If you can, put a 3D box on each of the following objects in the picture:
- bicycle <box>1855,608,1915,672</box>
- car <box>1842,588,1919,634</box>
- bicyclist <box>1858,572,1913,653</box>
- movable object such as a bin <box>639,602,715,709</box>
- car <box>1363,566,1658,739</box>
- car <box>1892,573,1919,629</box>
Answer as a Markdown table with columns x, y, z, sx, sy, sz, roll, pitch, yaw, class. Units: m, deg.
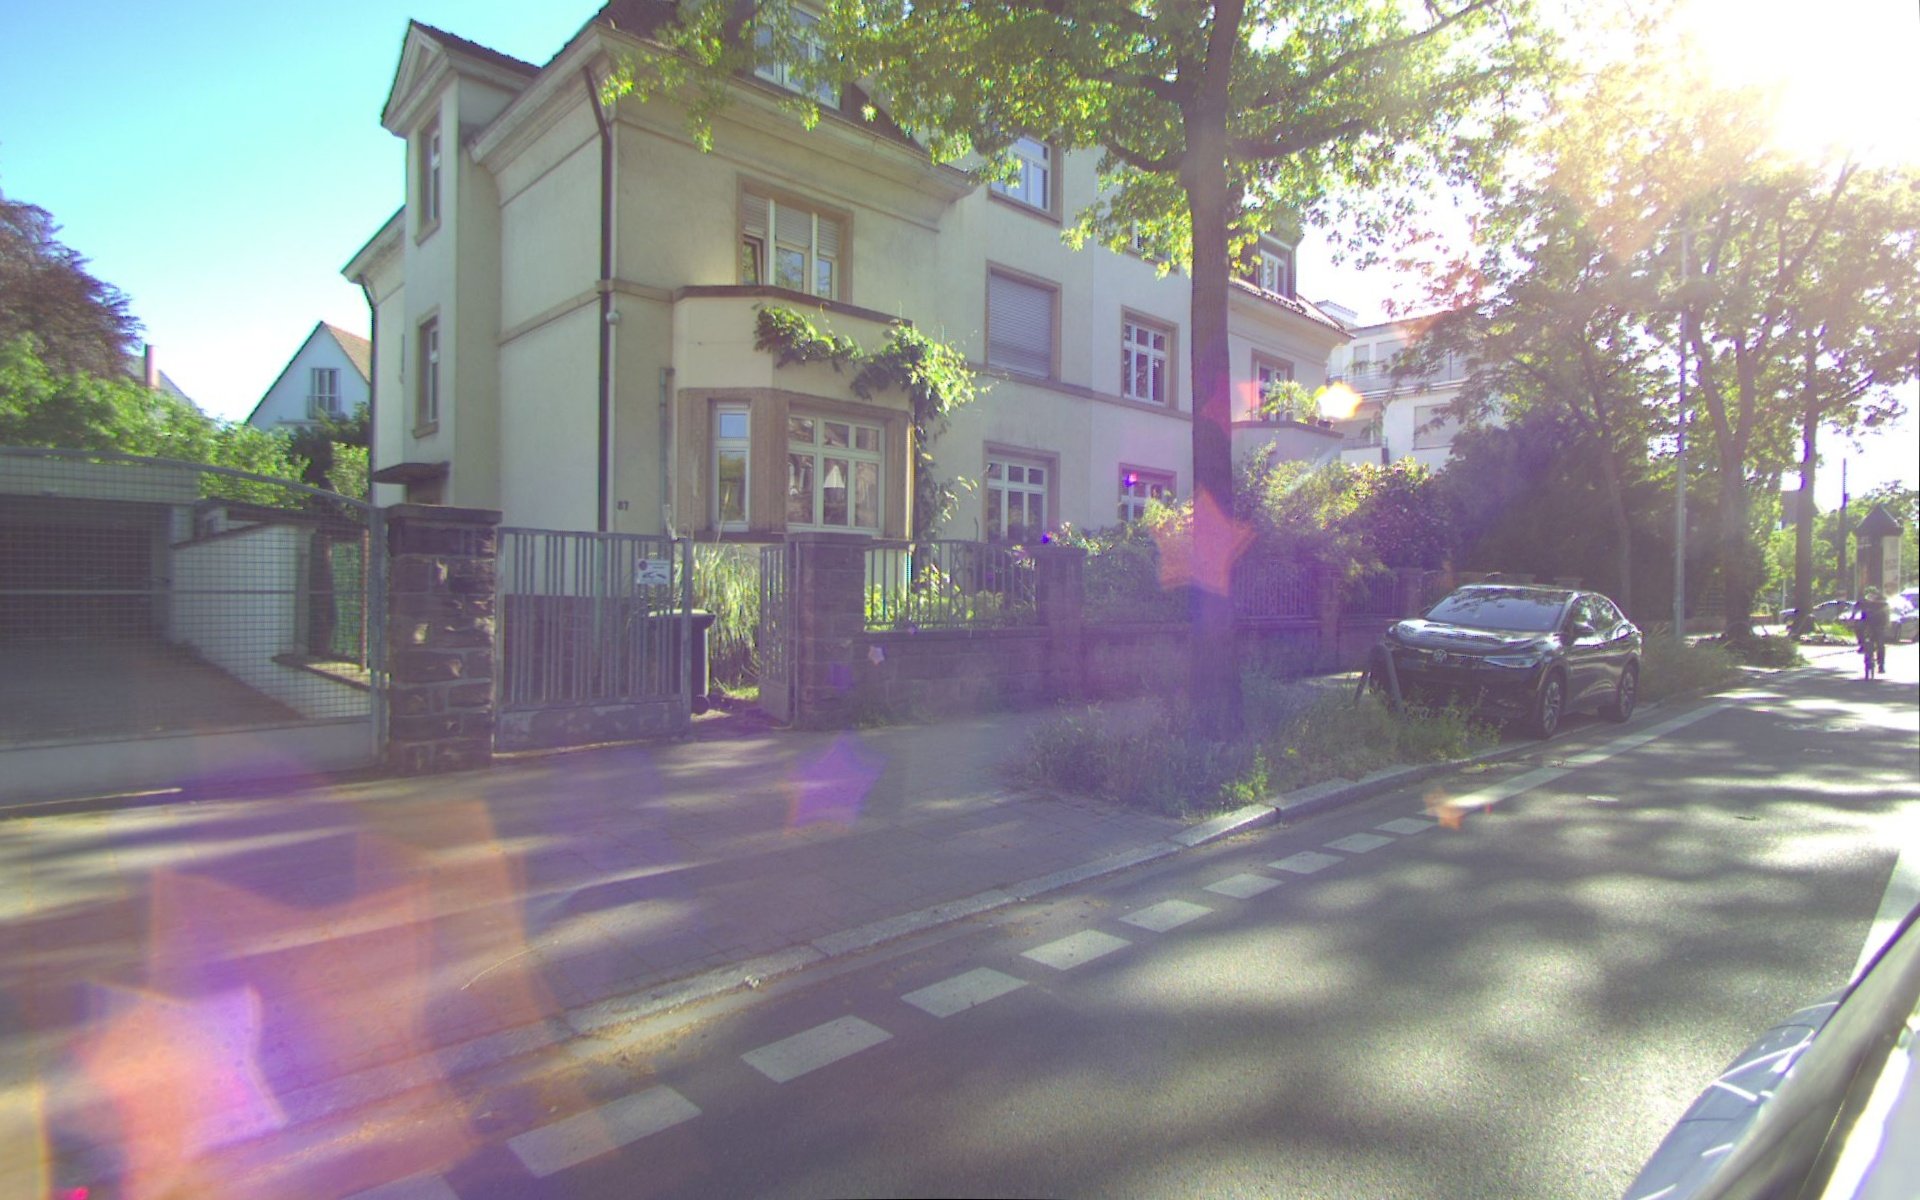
| x | y | z | sx | sy | sz | roll | pitch | yaw | class |
| --- | --- | --- | --- | --- | --- | --- | --- | --- | --- |
| 17.777 | 0.748 | 19.439 | 1.868 | 1.158 | 0.644 | 0 | 0 | -41 | bicycle |
| 31.554 | 0.332 | 34.428 | 3.930 | 1.469 | 1.785 | 0 | 1 | -41 | car |
| 17.795 | 0.228 | 19.457 | 1.095 | 1.506 | 0.645 | 0 | 0 | -41 | bicyclist |
| -3.054 | 0.563 | 10.863 | 0.697 | 1.070 | 1.093 | 0 | 0 | -20 | movable object such as a bin |
| 6.635 | 0.492 | 12.017 | 4.021 | 1.626 | 1.743 | 0 | 4 | -42 | car |
| 36.789 | 0.044 | 38.090 | 4.503 | 2.039 | 1.997 | 0 | 1 | -41 | car |
